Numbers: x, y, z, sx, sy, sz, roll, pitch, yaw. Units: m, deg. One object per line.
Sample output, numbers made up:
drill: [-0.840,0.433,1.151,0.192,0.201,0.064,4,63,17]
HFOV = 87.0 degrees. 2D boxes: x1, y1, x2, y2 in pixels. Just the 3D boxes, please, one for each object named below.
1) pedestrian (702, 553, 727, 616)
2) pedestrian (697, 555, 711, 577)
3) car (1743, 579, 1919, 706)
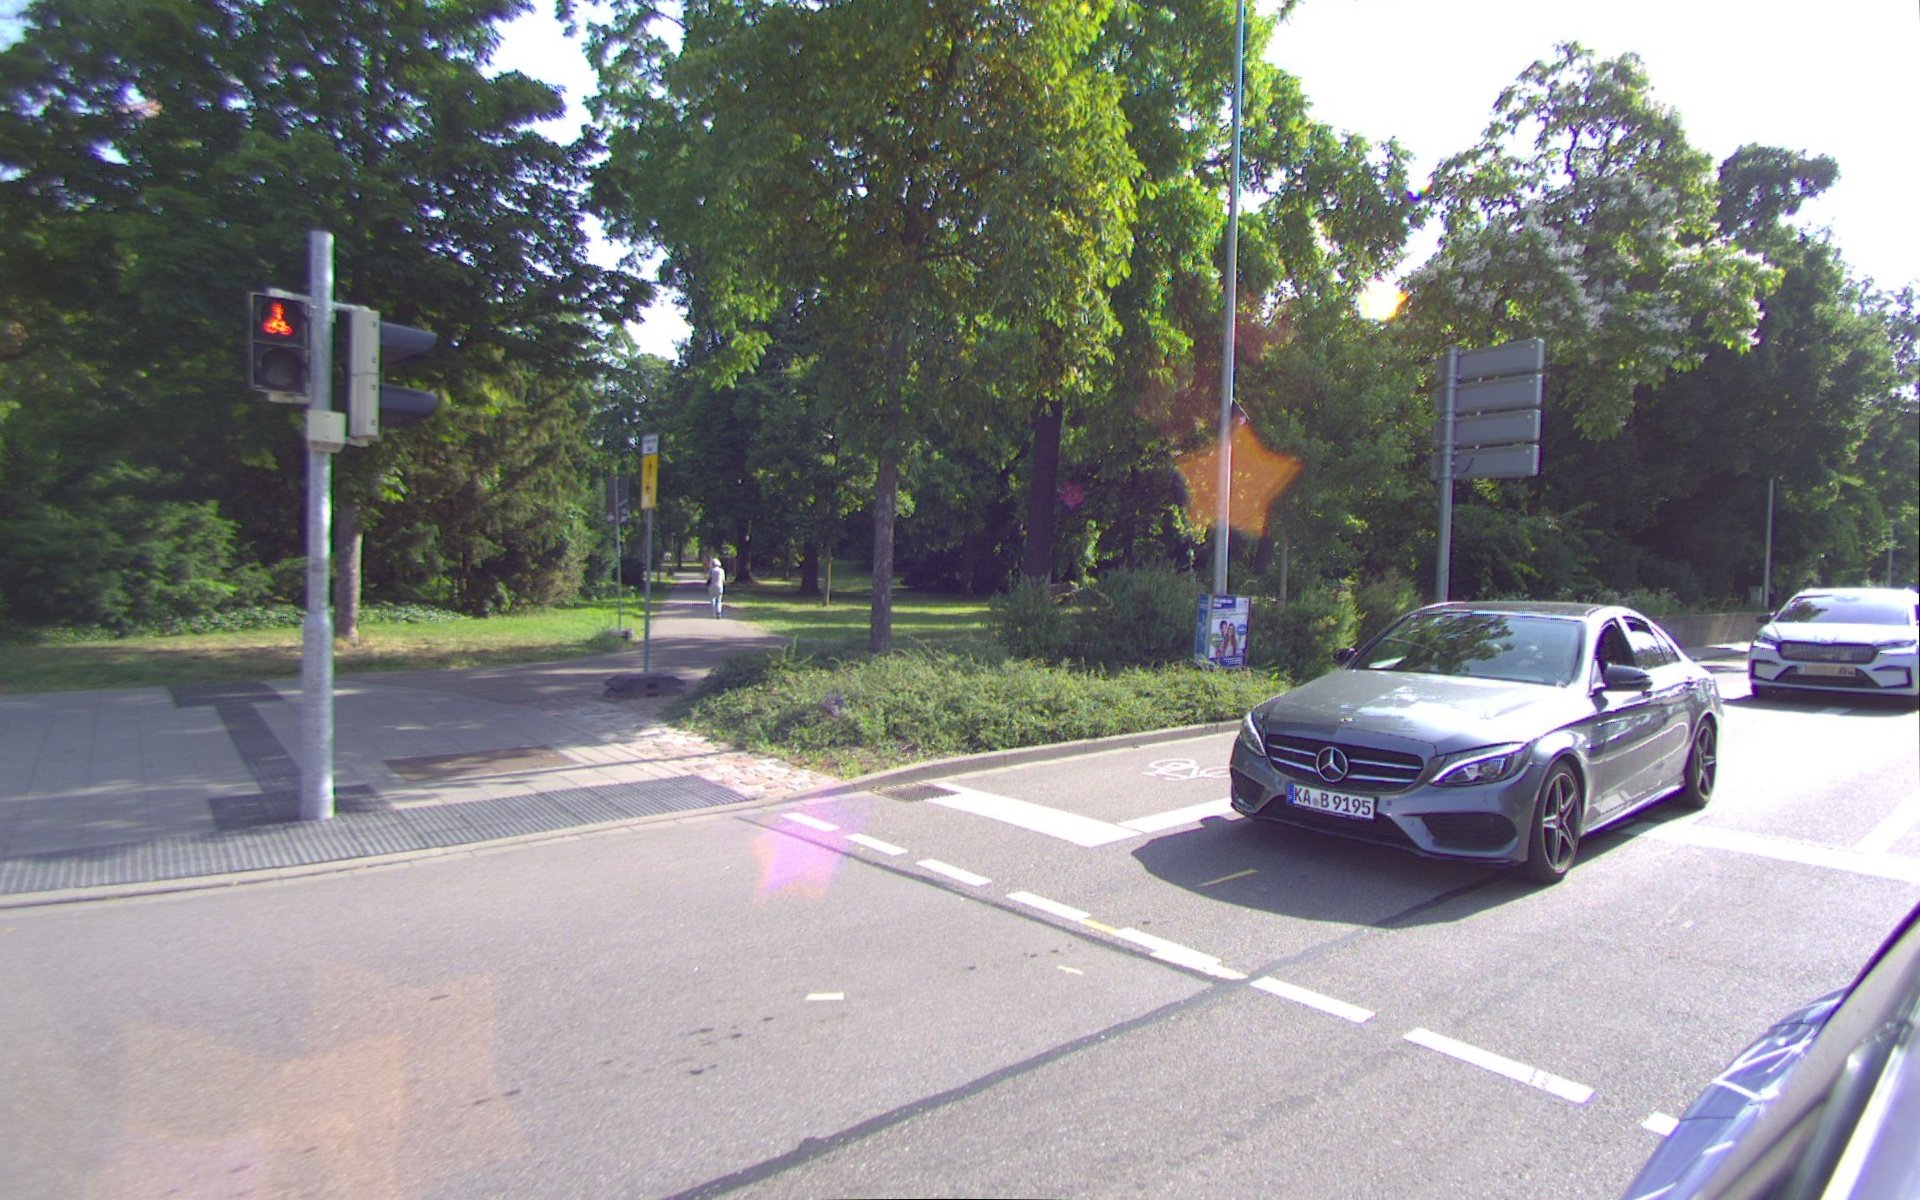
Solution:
pedestrian: [-6.160,-0.396,25.446,0.523,1.536,0.671,1,2,-8]
pedestrian: [-17.848,-2.354,70.519,0.749,1.471,0.558,0,2,-40]
car: [13.143,0.504,14.747,4.175,1.590,1.896,0,1,-40]
